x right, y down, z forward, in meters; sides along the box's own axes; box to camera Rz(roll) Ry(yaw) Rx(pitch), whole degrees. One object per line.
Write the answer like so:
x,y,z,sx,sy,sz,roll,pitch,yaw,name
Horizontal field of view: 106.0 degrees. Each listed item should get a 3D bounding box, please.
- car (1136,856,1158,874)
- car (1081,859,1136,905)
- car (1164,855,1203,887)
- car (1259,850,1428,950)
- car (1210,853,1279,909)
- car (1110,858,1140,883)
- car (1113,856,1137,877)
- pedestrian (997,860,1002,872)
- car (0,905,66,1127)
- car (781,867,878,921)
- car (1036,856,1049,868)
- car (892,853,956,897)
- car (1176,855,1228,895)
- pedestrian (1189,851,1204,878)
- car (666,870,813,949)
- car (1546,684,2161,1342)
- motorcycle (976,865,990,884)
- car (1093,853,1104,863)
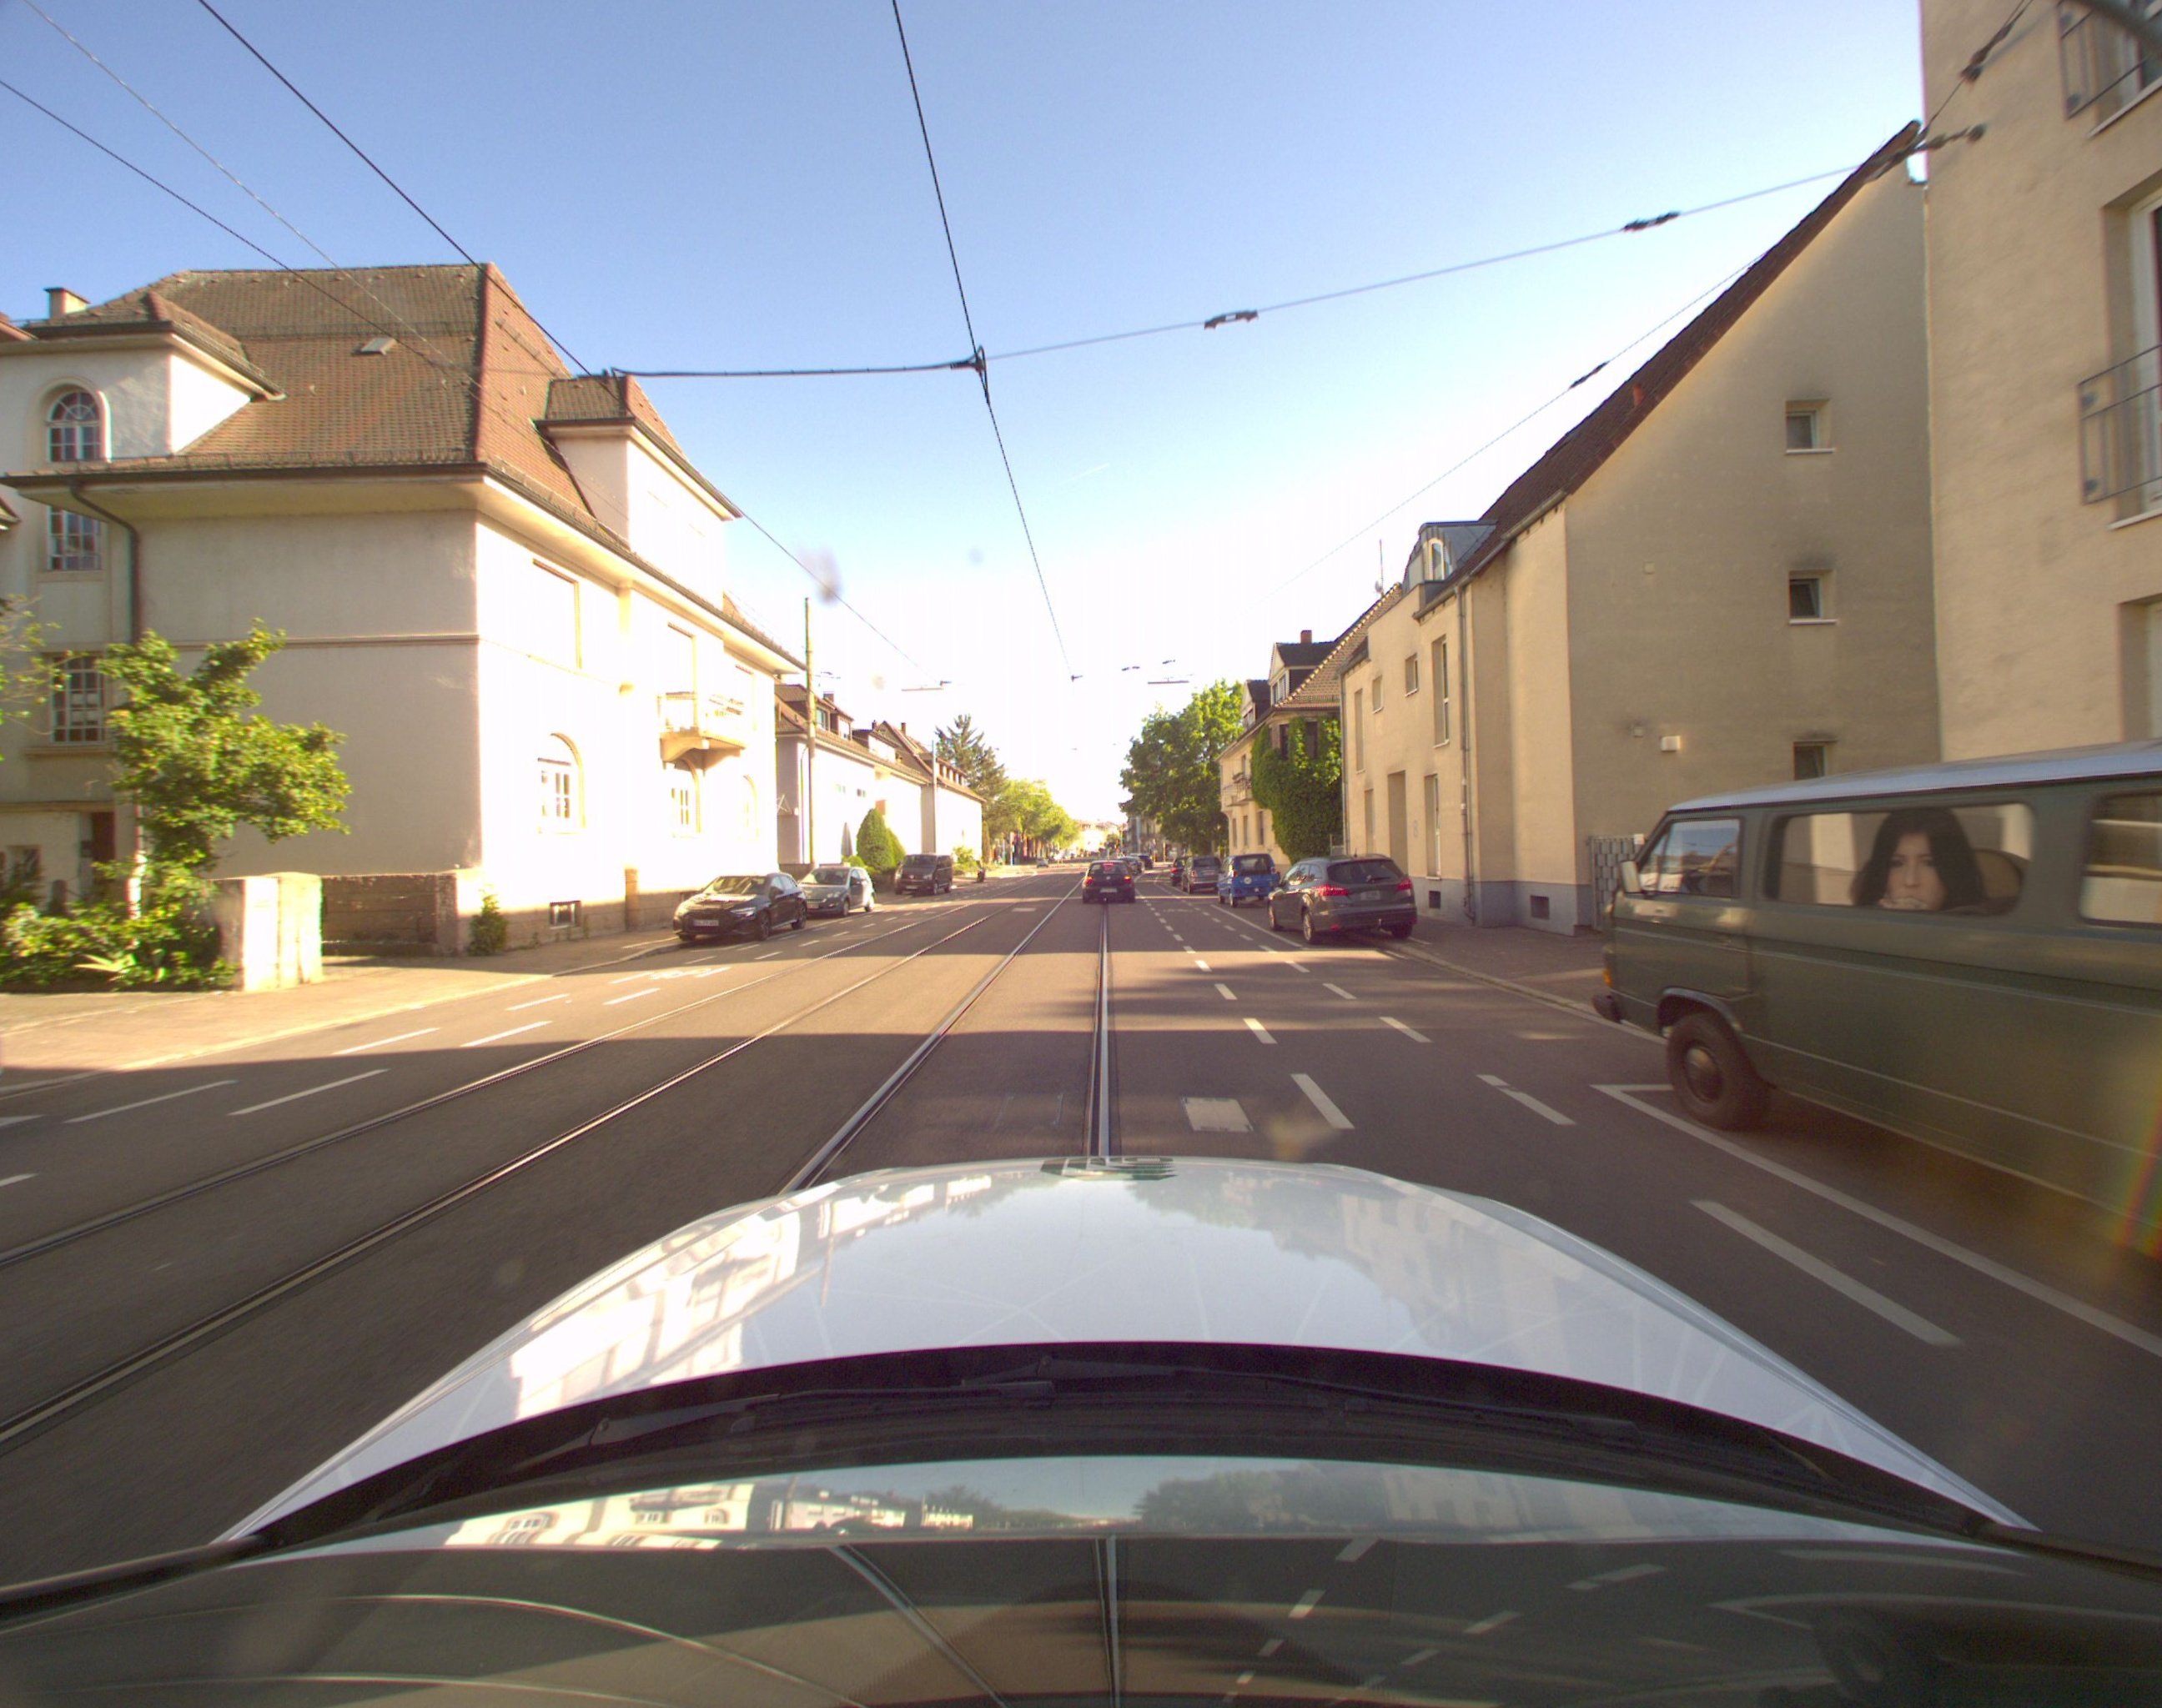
5.722,0.958,70.532,1.565,1.311,3.646,-2,2,-1,car
0.937,0.886,27.438,1.709,1.402,4.008,0,0,2,car
5.272,0.857,42.162,1.659,1.564,3.772,0,0,2,car
4.676,0.730,15.206,1.739,1.599,4.433,0,0,0,car
4.951,0.775,24.974,1.452,1.599,3.293,0,0,0,car
2.599,0.938,48.343,1.628,1.372,3.759,-2,0,2,car
3.357,0.934,62.581,1.733,1.441,3.811,-2,0,2,car
-12.458,1.832,124.209,0.610,1.689,0.729,1,0,-17,pedestrian
-8.100,1.125,3.778,1.625,1.457,4.017,-3,0,2,car
-7.647,1.172,25.141,1.670,1.477,3.837,0,0,2,car
-5.184,1.092,110.430,1.570,1.477,3.440,-2,0,0,car
-7.455,0.950,39.249,1.898,2.014,4.952,0,0,3,car
4.953,0.824,33.676,1.596,1.525,3.548,0,0,0,car
7.446,0.687,52.529,0.715,1.688,0.870,-3,0,0,pedestrian
-7.597,1.159,18.605,1.658,1.477,4.247,-2,0,-2,car
4.231,0.479,3.526,1.899,1.987,4.563,0,0,1,car
-6.560,1.365,54.824,0.534,1.162,2.173,-3,0,2,motorcycle
3.177,0.706,147.734,1.781,1.860,4.000,1,0,0,car
